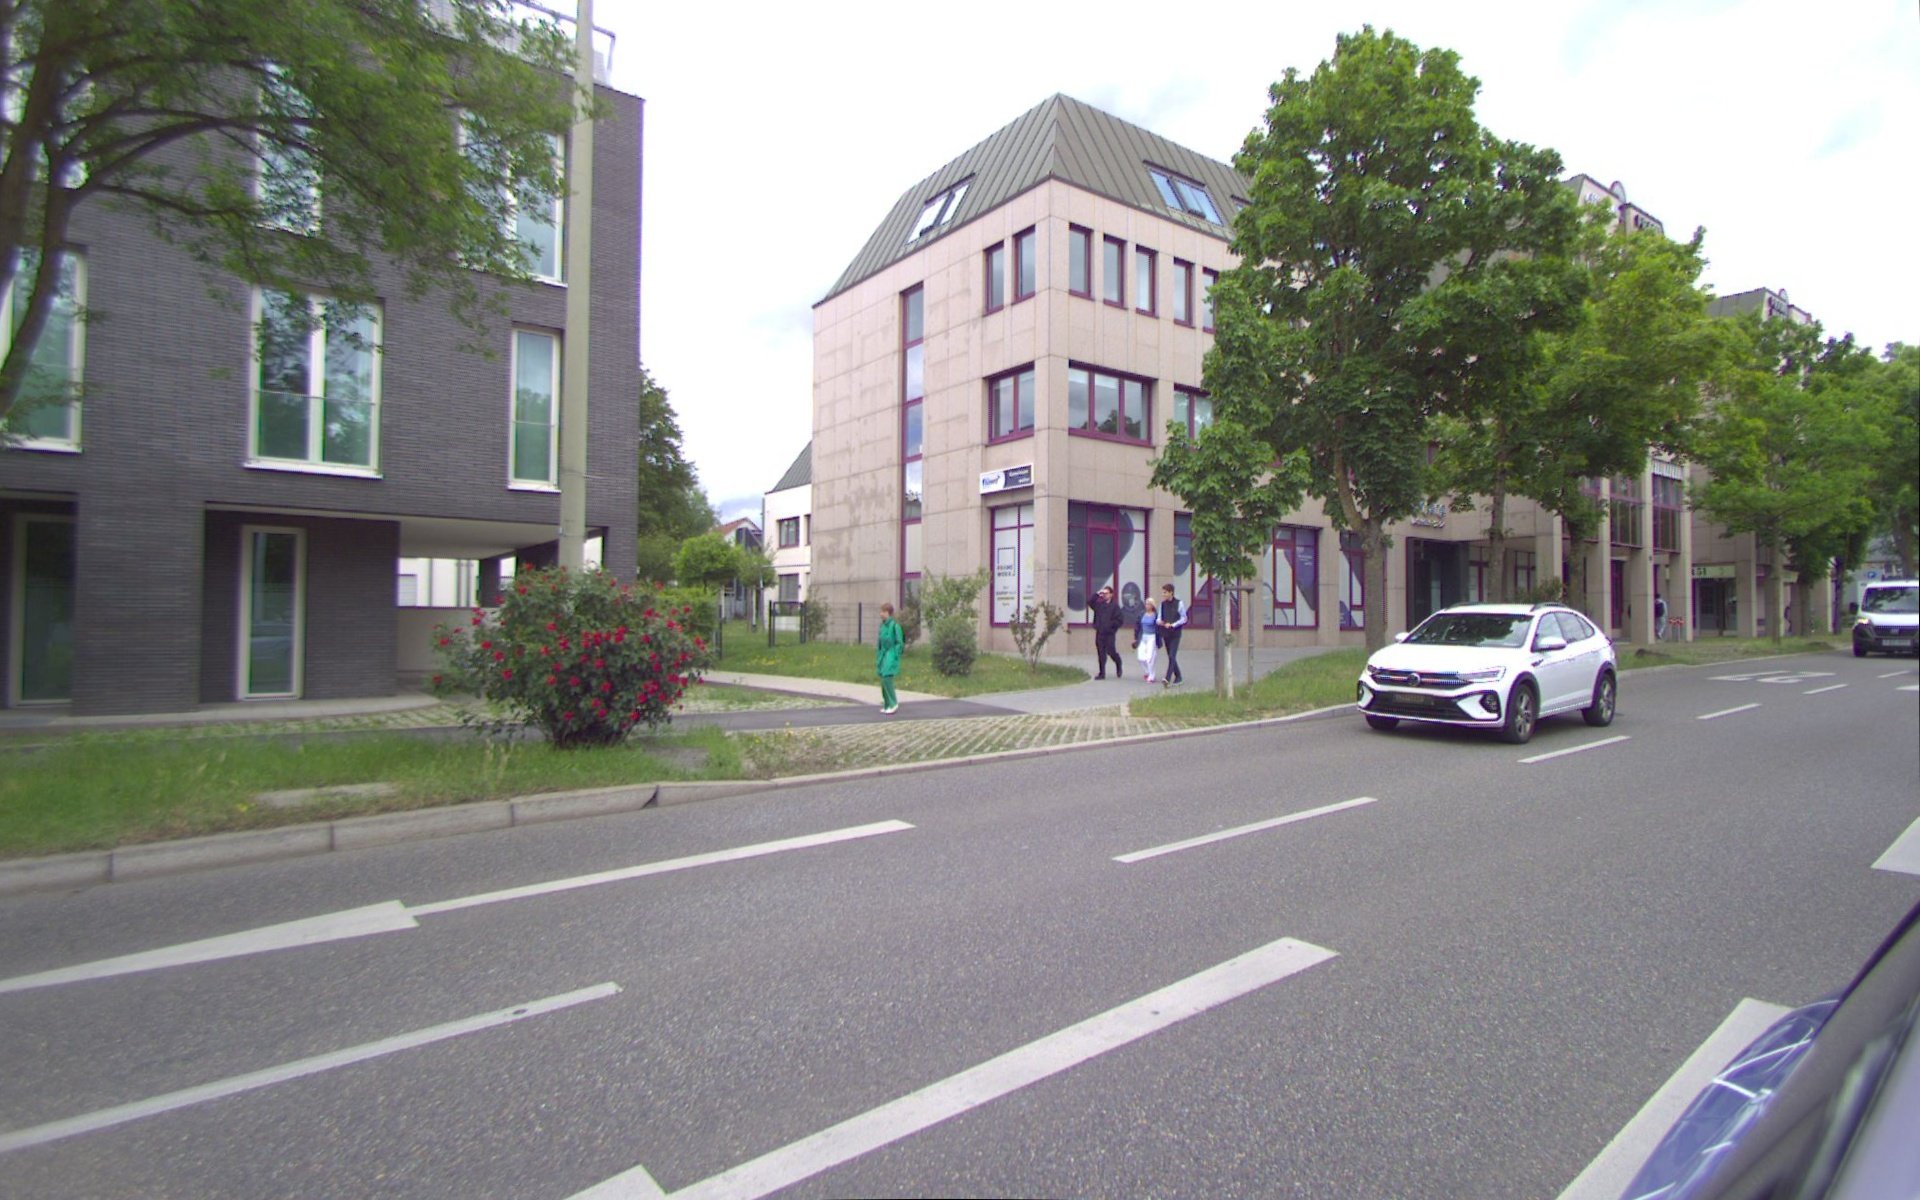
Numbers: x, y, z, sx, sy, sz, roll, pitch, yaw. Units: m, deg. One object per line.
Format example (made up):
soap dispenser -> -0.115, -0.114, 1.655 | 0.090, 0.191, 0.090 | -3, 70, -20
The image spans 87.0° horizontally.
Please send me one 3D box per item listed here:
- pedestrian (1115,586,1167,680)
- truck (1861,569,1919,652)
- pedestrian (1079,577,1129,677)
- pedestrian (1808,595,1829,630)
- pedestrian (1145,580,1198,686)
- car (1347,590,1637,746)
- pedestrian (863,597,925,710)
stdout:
pedestrian -> 3.286, 0.588, 18.349 | 0.665, 1.668, 0.642 | 0, -1, -41
truck -> 28.195, 0.255, 29.293 | 5.739, 2.231, 2.216 | -1, 0, -39
pedestrian -> 2.693, 0.492, 18.882 | 0.665, 1.828, 0.642 | 0, -1, -41
pedestrian -> 43.797, 0.620, 51.632 | 0.817, 1.769, 0.718 | 0, 0, -41
pedestrian -> 3.751, 0.569, 17.978 | 0.665, 1.828, 0.642 | 0, -1, -41
car -> 6.517, 0.679, 12.229 | 4.017, 1.575, 1.719 | 0, 0, -40
pedestrian -> -0.930, 0.731, 14.267 | 0.665, 1.537, 0.496 | 0, 2, -41
